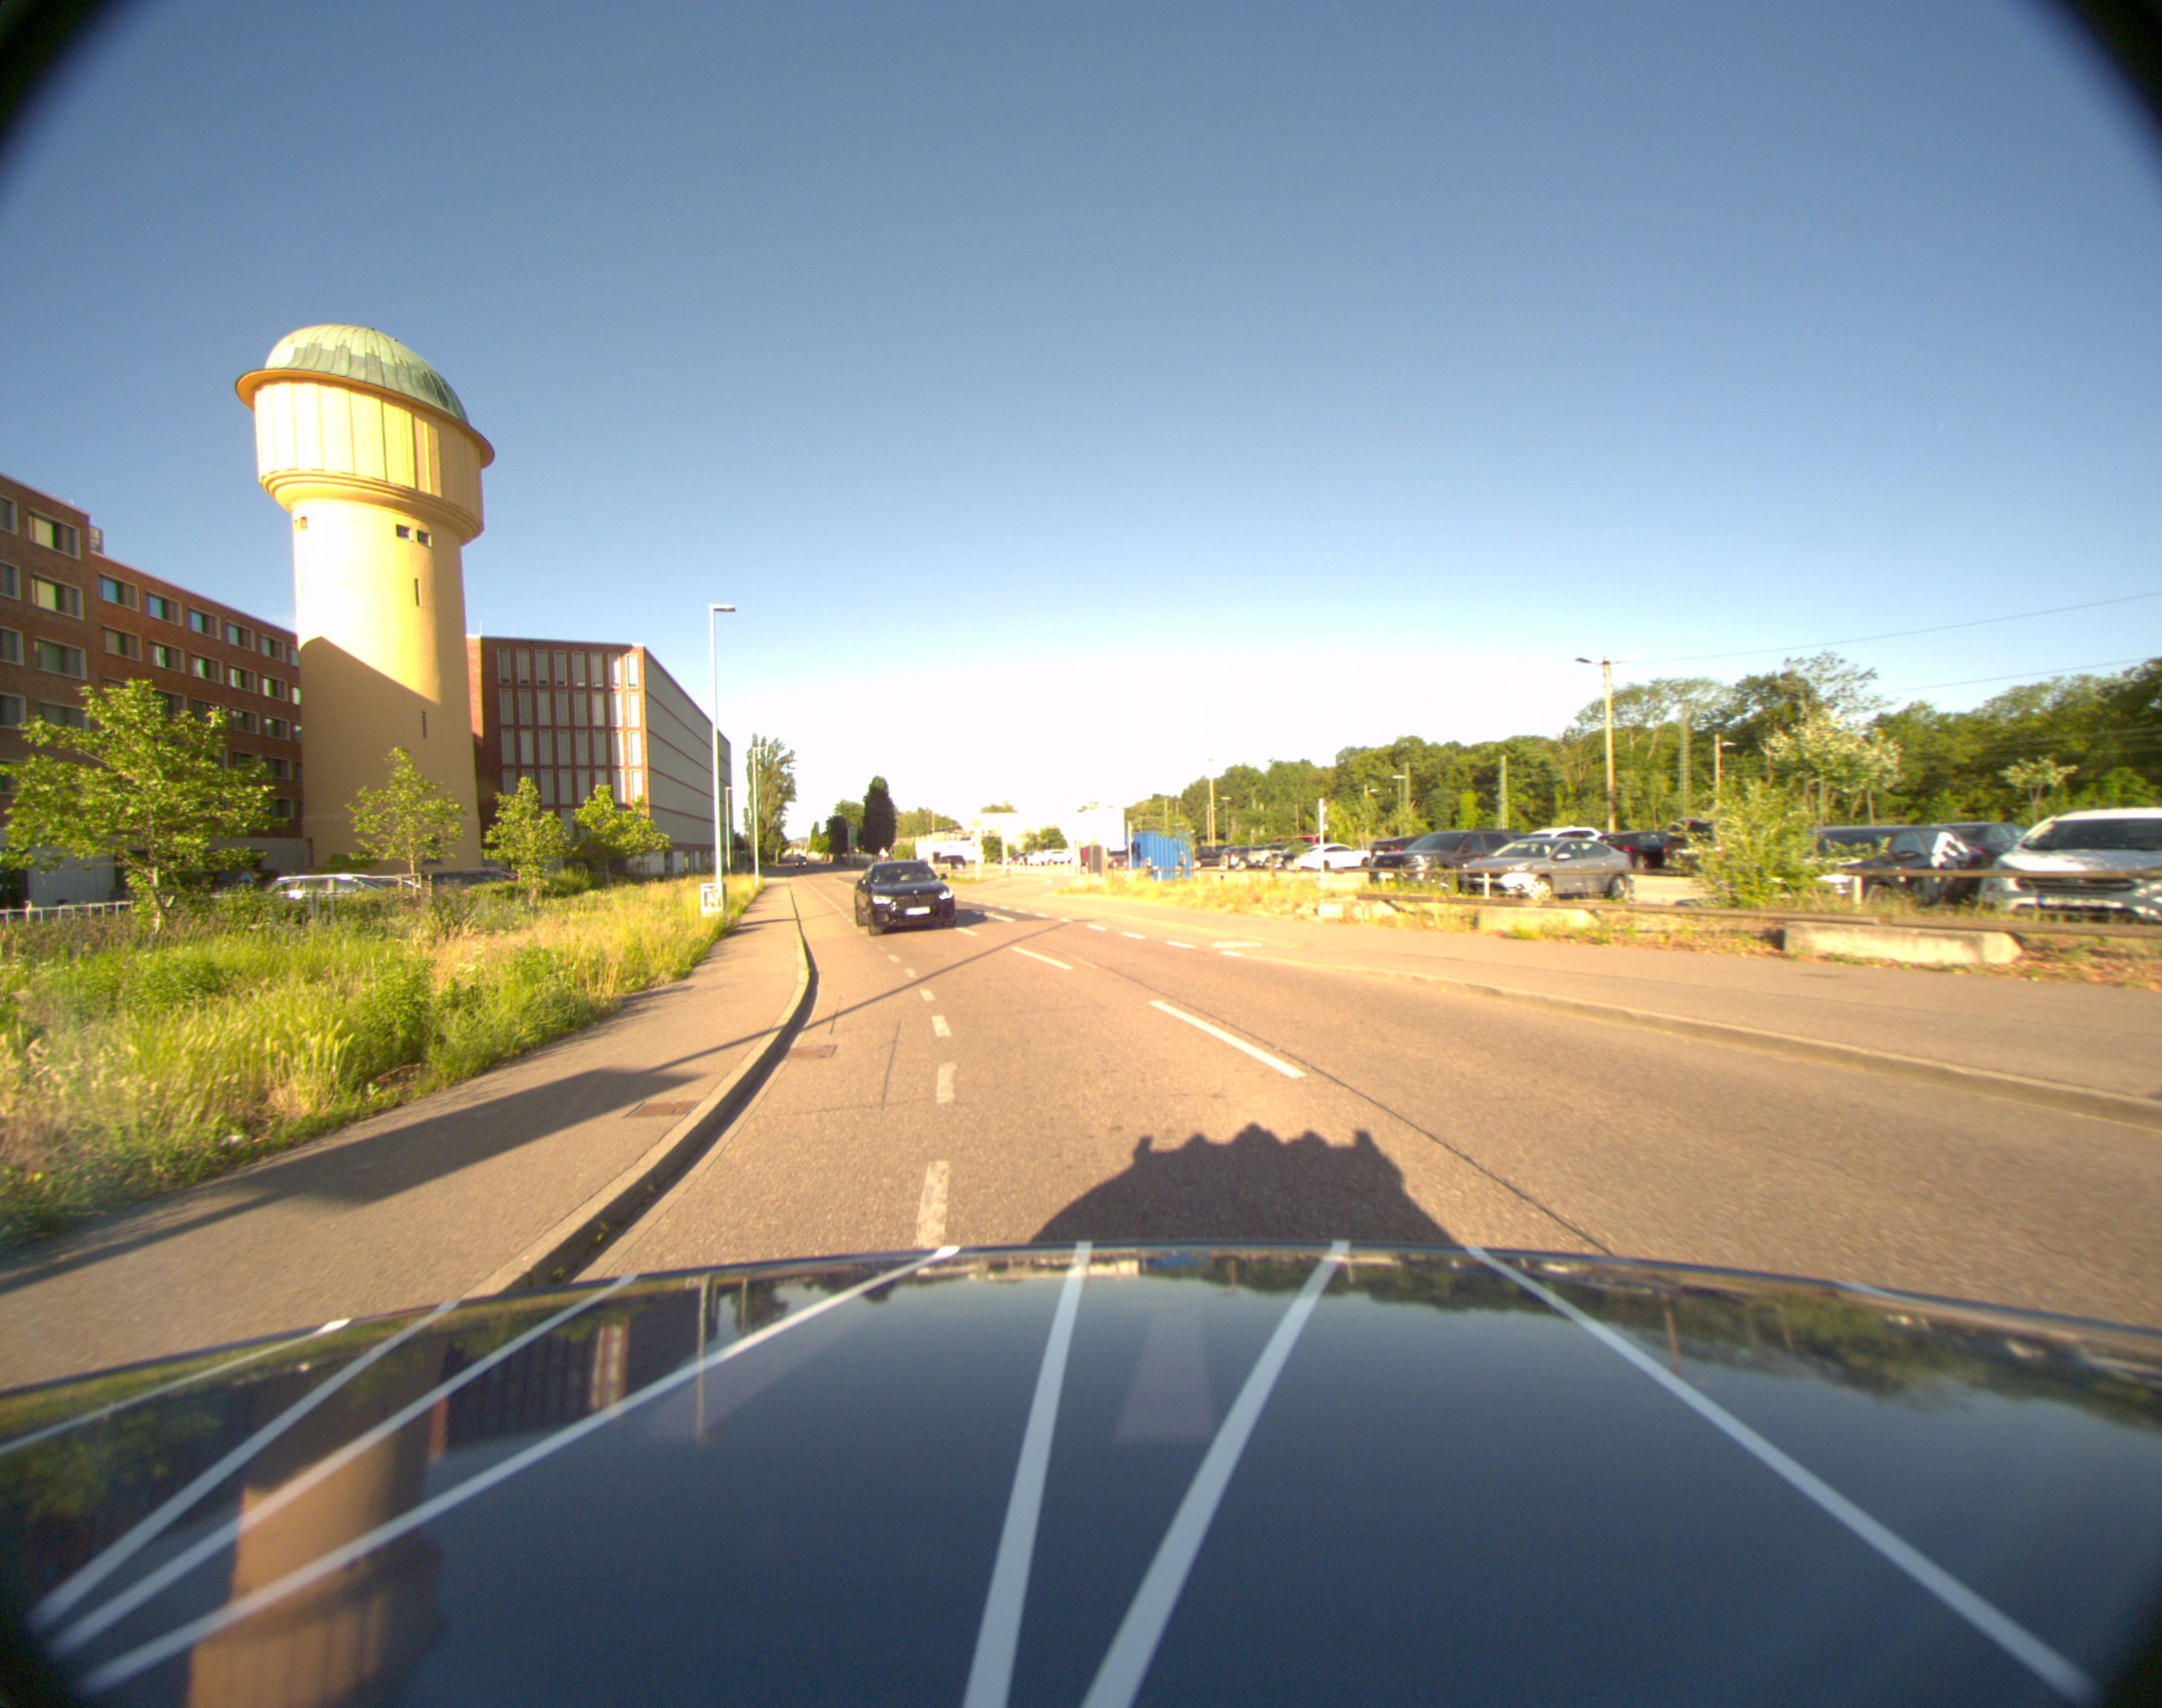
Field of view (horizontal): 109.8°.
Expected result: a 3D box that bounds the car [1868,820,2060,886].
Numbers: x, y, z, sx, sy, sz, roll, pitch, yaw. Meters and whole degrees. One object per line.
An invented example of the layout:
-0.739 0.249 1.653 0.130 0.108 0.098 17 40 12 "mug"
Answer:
21.906 -0.056 18.860 4.003 1.423 1.757 -2 1 -19 "car"

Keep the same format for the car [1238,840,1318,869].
11.959 0.026 46.142 4.451 1.458 1.866 -4 1 -22 "car"

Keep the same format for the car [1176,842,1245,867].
9.156 0.033 53.748 4.451 1.505 1.866 -4 1 -22 "car"

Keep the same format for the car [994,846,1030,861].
-8.738 -0.055 96.813 4.313 1.600 1.740 -4 1 -41 "car"

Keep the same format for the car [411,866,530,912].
-29.879 1.680 37.326 4.002 1.969 1.997 -2 1 -17 "car"

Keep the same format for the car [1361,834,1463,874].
15.562 -0.031 35.703 4.206 1.580 1.983 -4 1 -22 "car"

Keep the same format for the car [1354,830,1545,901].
9.839 0.280 20.306 4.543 1.733 2.065 0 0 -22 "car"

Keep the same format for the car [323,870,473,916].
-27.135 1.518 30.337 4.002 1.541 1.831 -2 1 -17 "car"

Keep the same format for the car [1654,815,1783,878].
20.265 -0.250 24.152 3.784 1.724 1.767 -4 2 -27 "car"

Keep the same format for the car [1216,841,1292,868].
11.077 0.042 48.661 4.451 1.421 1.866 -4 1 -22 "car"

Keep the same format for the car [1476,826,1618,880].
17.834 -0.062 29.107 4.705 1.685 2.036 -4 1 -18 "car"

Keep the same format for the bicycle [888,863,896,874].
-18.300 1.413 73.518 0.559 1.058 1.721 -3 1 -19 "bicycle"

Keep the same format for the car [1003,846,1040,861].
-7.404 -0.016 94.585 4.329 1.615 1.781 -4 1 -40 "car"

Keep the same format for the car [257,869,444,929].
-26.090 1.557 27.363 4.336 1.817 1.997 -2 1 -20 "car"

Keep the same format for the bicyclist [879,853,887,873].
-19.572 0.889 75.227 0.569 1.860 0.852 -3 1 -21 "bicyclist"

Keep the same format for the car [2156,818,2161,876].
28.543 -0.267 18.224 4.206 1.411 2.098 -3 1 -19 "car"

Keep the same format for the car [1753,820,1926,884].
21.479 -0.074 21.538 4.004 1.585 1.996 -2 1 -21 "car"

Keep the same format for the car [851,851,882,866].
-42.977 0.854 152.198 5.778 2.686 1.996 -3 1 -20 "car"

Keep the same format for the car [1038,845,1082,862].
-2.246 -0.028 82.106 4.302 1.538 1.824 -4 1 -24 "car"

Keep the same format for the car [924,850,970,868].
-14.838 0.517 84.011 4.661 1.731 1.798 -4 1 -22 "car"

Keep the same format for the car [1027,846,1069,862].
-3.659 0.026 84.043 4.163 1.477 1.758 -4 1 -25 "car"

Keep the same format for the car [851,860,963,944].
-4.511 1.062 19.110 2.050 1.704 4.742 -3 1 -21 "car"

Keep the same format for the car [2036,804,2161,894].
23.054 -0.173 16.432 4.003 1.572 1.825 -6 2 -21 "car"

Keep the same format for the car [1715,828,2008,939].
12.740 0.405 12.432 4.003 1.506 1.853 -2 1 -20 "car"

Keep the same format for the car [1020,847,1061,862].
-4.604 0.036 86.366 4.162 1.479 1.762 -4 1 -25 "car"

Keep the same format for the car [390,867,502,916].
-29.373 1.682 35.255 3.487 2.010 1.833 -2 1 -19 "car"

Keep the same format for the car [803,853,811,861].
-77.241 0.793 213.883 2.002 2.002 3.993 -2 1 -21 "car"

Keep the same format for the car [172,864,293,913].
-43.187 1.675 38.866 1.870 2.251 4.929 -2 1 -19 "car"

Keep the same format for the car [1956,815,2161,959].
13.642 0.316 9.918 4.062 1.601 1.883 -2 1 -25 "car"

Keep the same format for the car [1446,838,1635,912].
10.647 0.438 17.599 3.929 1.445 1.835 -2 1 -25 "car"

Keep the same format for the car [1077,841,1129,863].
2.020 -0.209 70.580 4.448 1.767 1.867 -3 1 -14 "car"

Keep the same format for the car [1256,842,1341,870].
12.463 0.101 43.544 4.451 1.435 1.866 -3 1 -22 "car"

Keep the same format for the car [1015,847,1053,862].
-5.531 0.044 88.970 4.017 1.479 1.762 -4 1 -25 "car"

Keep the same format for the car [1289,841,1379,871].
13.655 0.096 41.046 4.451 1.370 1.866 -4 1 -22 "car"

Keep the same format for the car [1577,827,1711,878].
19.602 -0.064 26.479 3.946 1.479 1.888 -4 1 -21 "car"

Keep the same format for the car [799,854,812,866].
-48.014 1.033 132.270 2.002 2.002 3.993 -2 1 -21 "car"

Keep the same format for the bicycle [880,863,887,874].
-19.563 1.424 75.269 0.504 1.118 1.563 -3 1 -19 "bicycle"

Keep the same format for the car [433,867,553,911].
-30.976 1.802 40.230 4.535 2.002 1.997 -2 1 -18 "car"

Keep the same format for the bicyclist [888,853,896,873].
-18.273 0.861 73.476 0.569 1.860 0.852 -3 1 -21 "bicyclist"

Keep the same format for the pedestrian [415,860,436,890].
-42.578 1.343 49.358 0.897 1.853 0.969 -4 2 -42 "pedestrian"

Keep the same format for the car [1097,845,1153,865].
3.810 0.081 65.796 4.449 1.436 1.919 -3 1 -15 "car"
